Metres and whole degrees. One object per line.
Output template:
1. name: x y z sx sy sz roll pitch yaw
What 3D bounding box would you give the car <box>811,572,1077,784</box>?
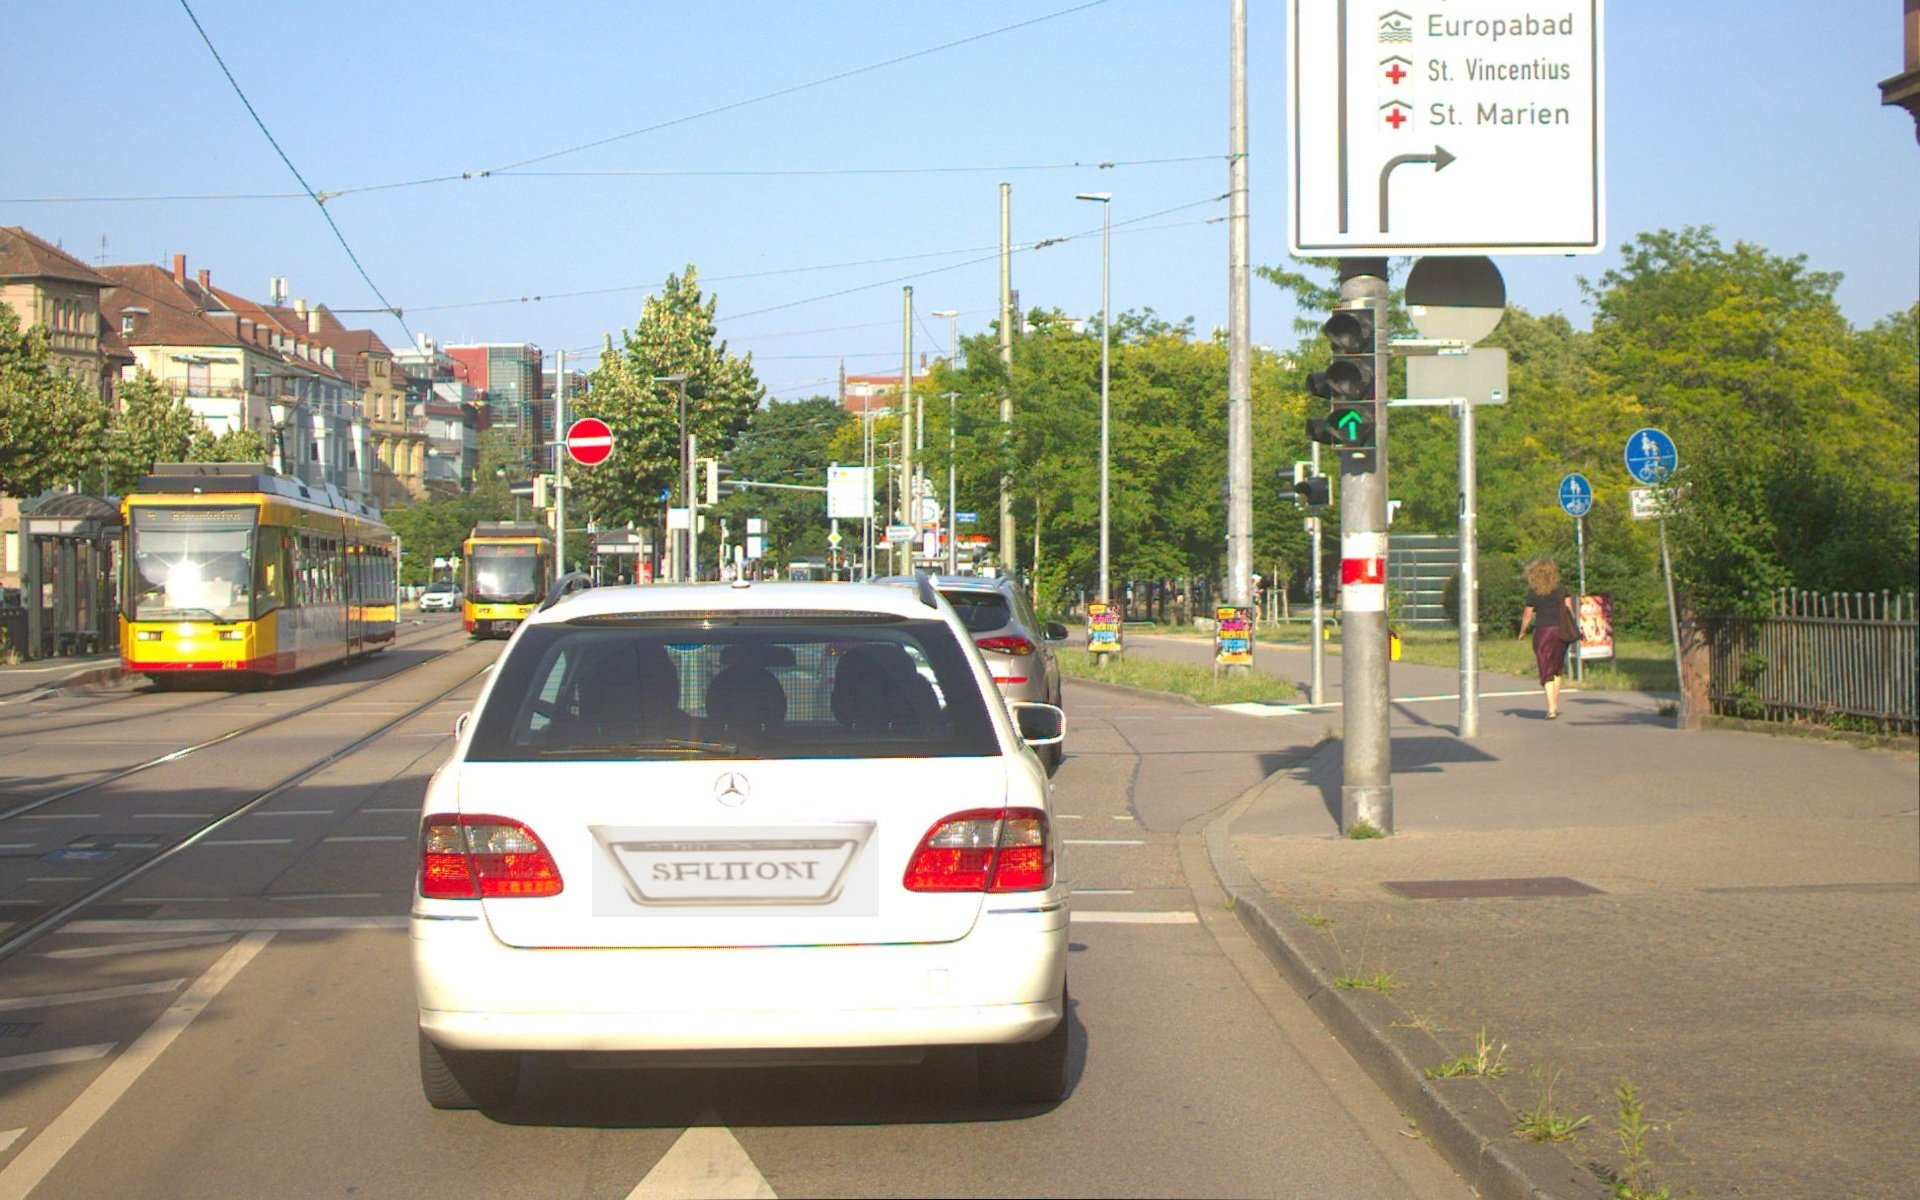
1. car: -0.177 0.585 28.562 2.033 1.600 4.000 1 1 -2

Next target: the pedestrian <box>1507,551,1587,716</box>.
1. pedestrian: 6.213 0.351 36.412 0.615 1.686 0.548 -5 1 -1

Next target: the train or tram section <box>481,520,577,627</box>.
1. train or tram section: -14.829 -0.930 119.060 2.849 3.467 13.202 1 1 -5

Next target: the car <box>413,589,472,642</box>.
1. car: -28.051 0.812 186.569 2.596 2.726 7.469 1 1 -5

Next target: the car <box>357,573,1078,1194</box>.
1. car: -0.711 0.676 10.442 1.758 1.498 4.001 0 1 -3

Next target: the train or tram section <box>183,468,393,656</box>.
1. train or tram section: -13.771 -0.793 71.594 3.161 3.467 14.475 1 1 -7

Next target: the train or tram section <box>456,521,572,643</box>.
1. train or tram section: -13.644 -0.602 106.021 2.849 3.467 13.202 1 1 -5

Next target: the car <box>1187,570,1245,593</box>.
1. car: 18.063 -1.311 242.473 3.988 1.645 1.999 0 0 9

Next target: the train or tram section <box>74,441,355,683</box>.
1. train or tram section: -12.079 -0.624 57.101 3.161 3.467 14.536 1 1 -7
